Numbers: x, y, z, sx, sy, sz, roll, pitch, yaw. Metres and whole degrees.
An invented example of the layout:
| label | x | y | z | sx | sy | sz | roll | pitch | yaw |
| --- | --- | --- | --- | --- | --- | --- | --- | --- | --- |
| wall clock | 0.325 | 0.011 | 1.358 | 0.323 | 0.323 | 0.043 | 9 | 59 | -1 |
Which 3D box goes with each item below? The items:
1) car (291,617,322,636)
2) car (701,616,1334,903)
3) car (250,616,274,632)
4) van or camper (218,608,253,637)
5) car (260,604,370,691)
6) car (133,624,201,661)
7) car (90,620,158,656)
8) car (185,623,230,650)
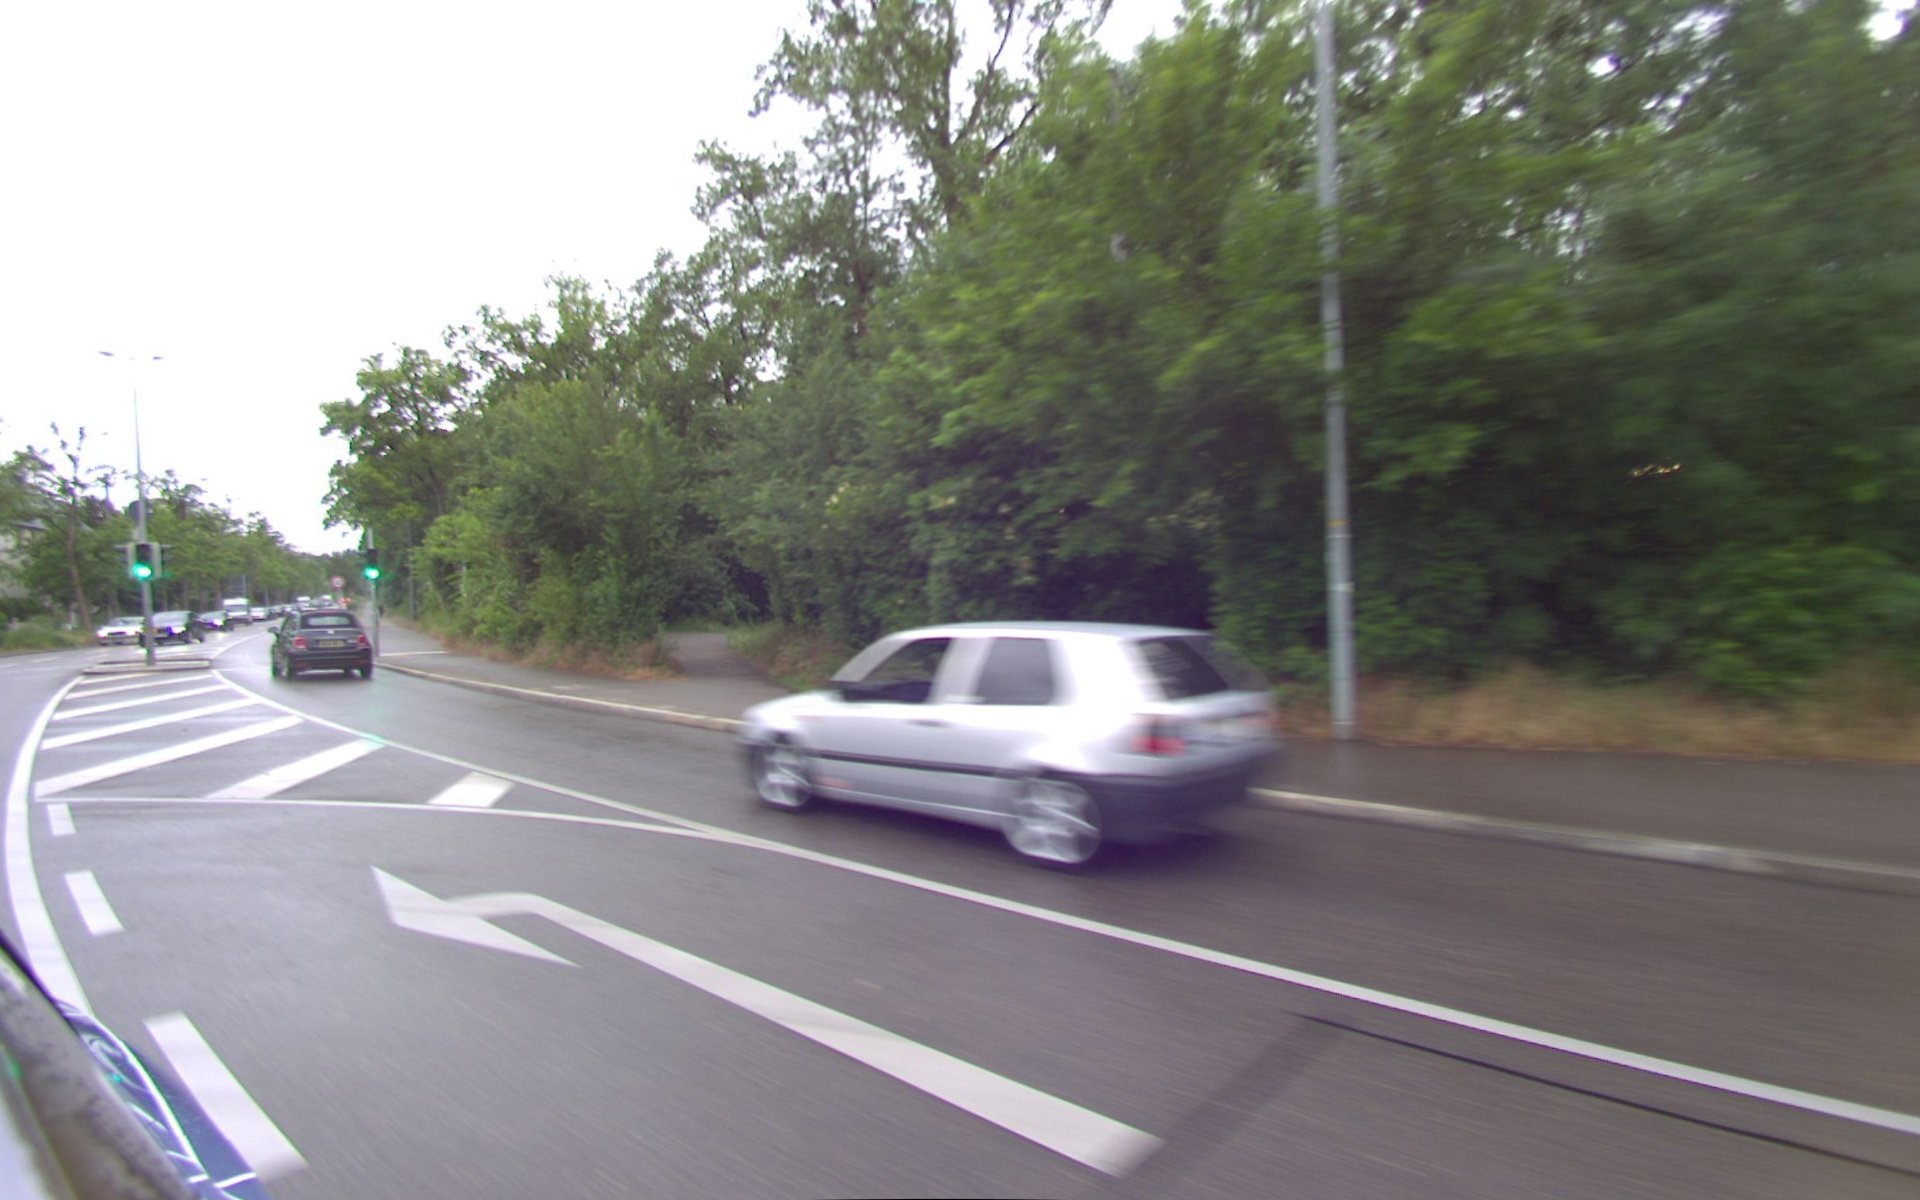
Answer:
| label | x | y | z | sx | sy | sz | roll | pitch | yaw |
| --- | --- | --- | --- | --- | --- | --- | --- | --- | --- |
| car | -50.907 | 2.049 | 78.784 | 1.914 | 1.386 | 4.616 | -1 | 0 | -34 |
| car | 0.149 | 0.838 | 6.978 | 4.209 | 1.362 | 1.722 | -2 | -1 | 42 |
| car | -76.104 | 2.595 | 110.418 | 1.913 | 1.615 | 4.617 | -1 | 0 | -31 |
| van or camper | -66.449 | 2.048 | 92.875 | 1.966 | 2.471 | 4.736 | -3 | 1 | -29 |
| car | -14.388 | 1.008 | 22.500 | 1.556 | 1.744 | 3.780 | -1 | -1 | -40 |
| car | -34.857 | 1.842 | 44.611 | 1.913 | 1.466 | 4.617 | -1 | 0 | -33 |
| car | -40.860 | 1.802 | 49.568 | 1.913 | 1.615 | 4.617 | -1 | 0 | -31 |
| car | -49.647 | 2.389 | 66.849 | 1.913 | 1.615 | 4.617 | -1 | 0 | -31 |
